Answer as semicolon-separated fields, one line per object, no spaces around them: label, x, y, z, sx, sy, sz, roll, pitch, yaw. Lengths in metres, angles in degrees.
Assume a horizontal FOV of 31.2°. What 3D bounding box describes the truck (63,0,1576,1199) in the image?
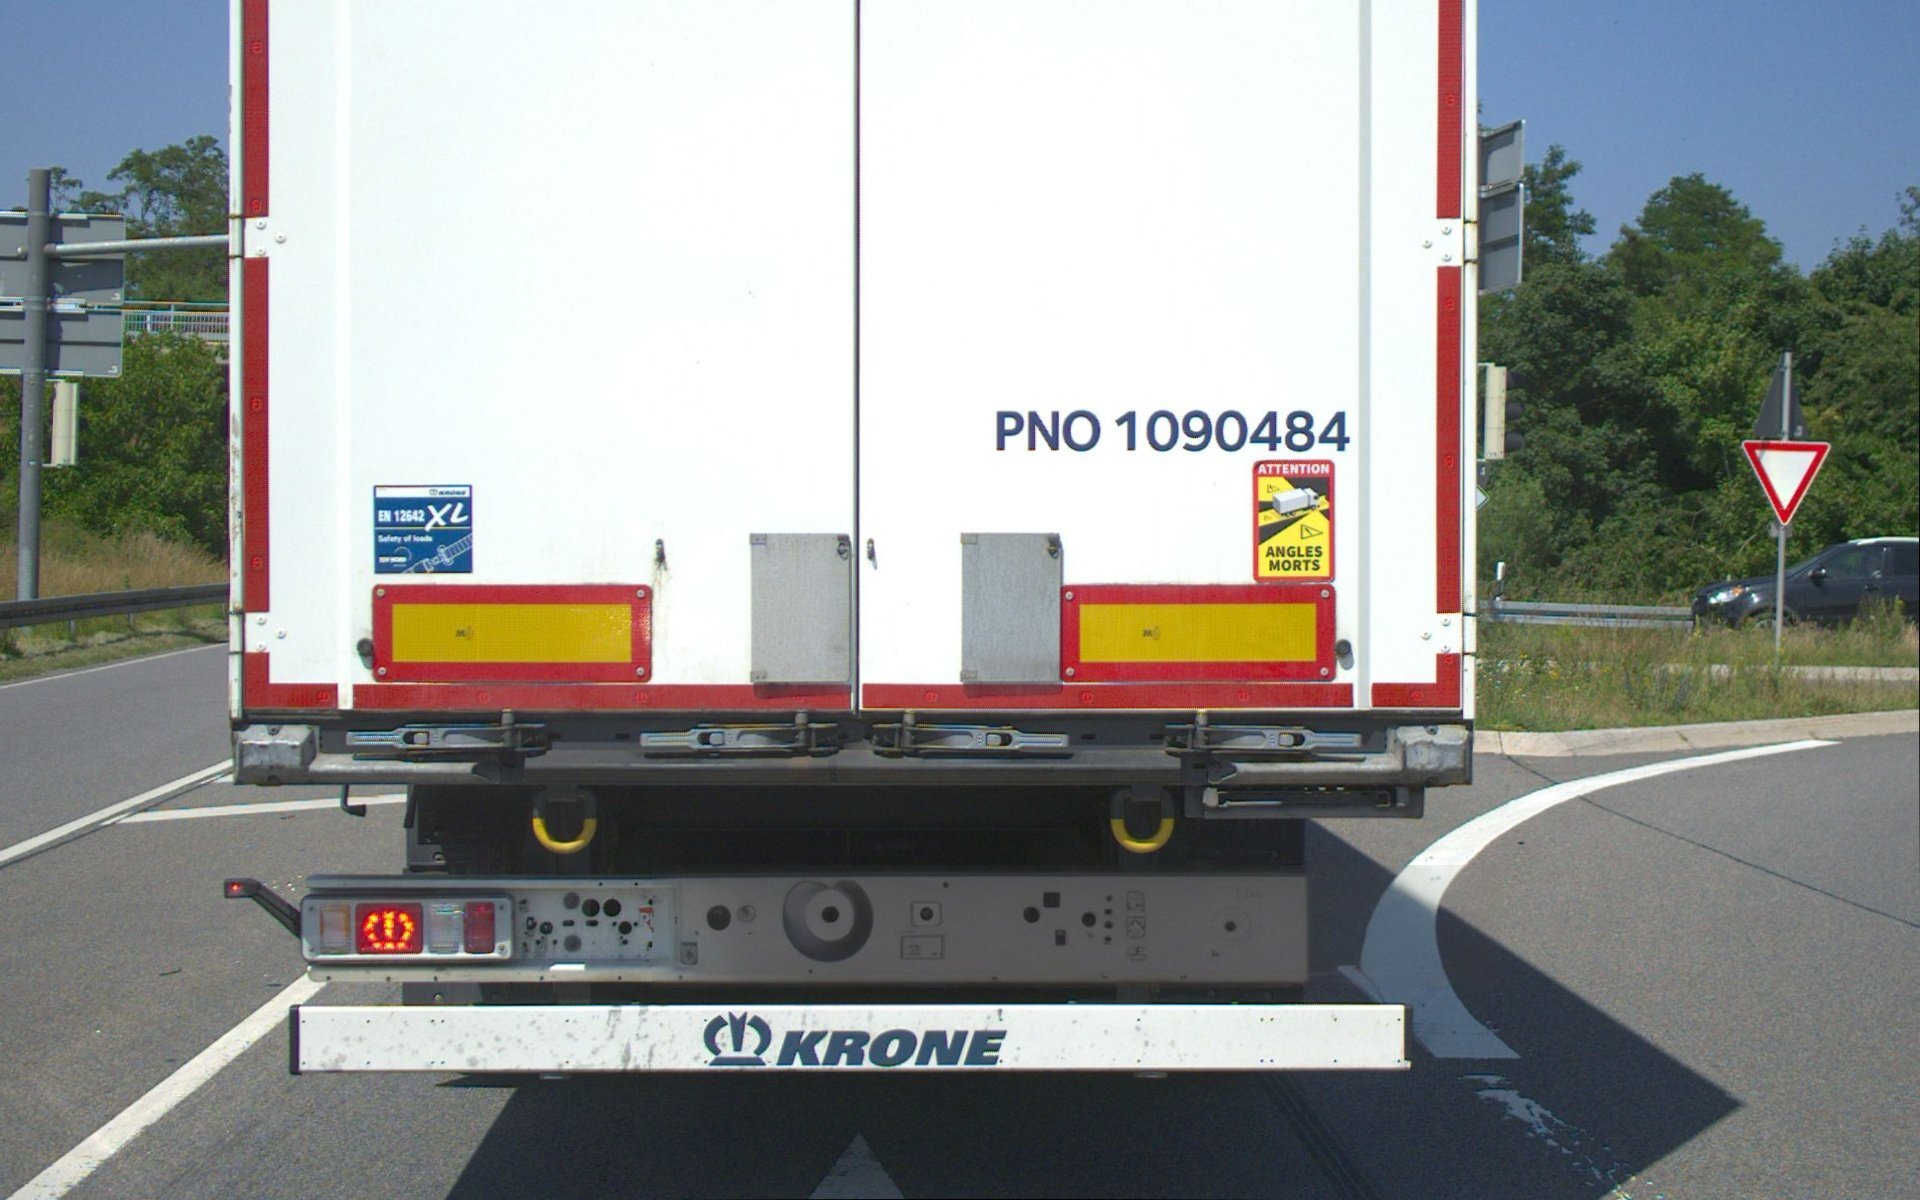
truck;-0.376;-0.661;11.767;2.987;3.928;9.876;1;1;-1

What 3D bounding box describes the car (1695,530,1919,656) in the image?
car;12.002;-0.092;46.086;3.986;1.634;1.841;1;0;5
